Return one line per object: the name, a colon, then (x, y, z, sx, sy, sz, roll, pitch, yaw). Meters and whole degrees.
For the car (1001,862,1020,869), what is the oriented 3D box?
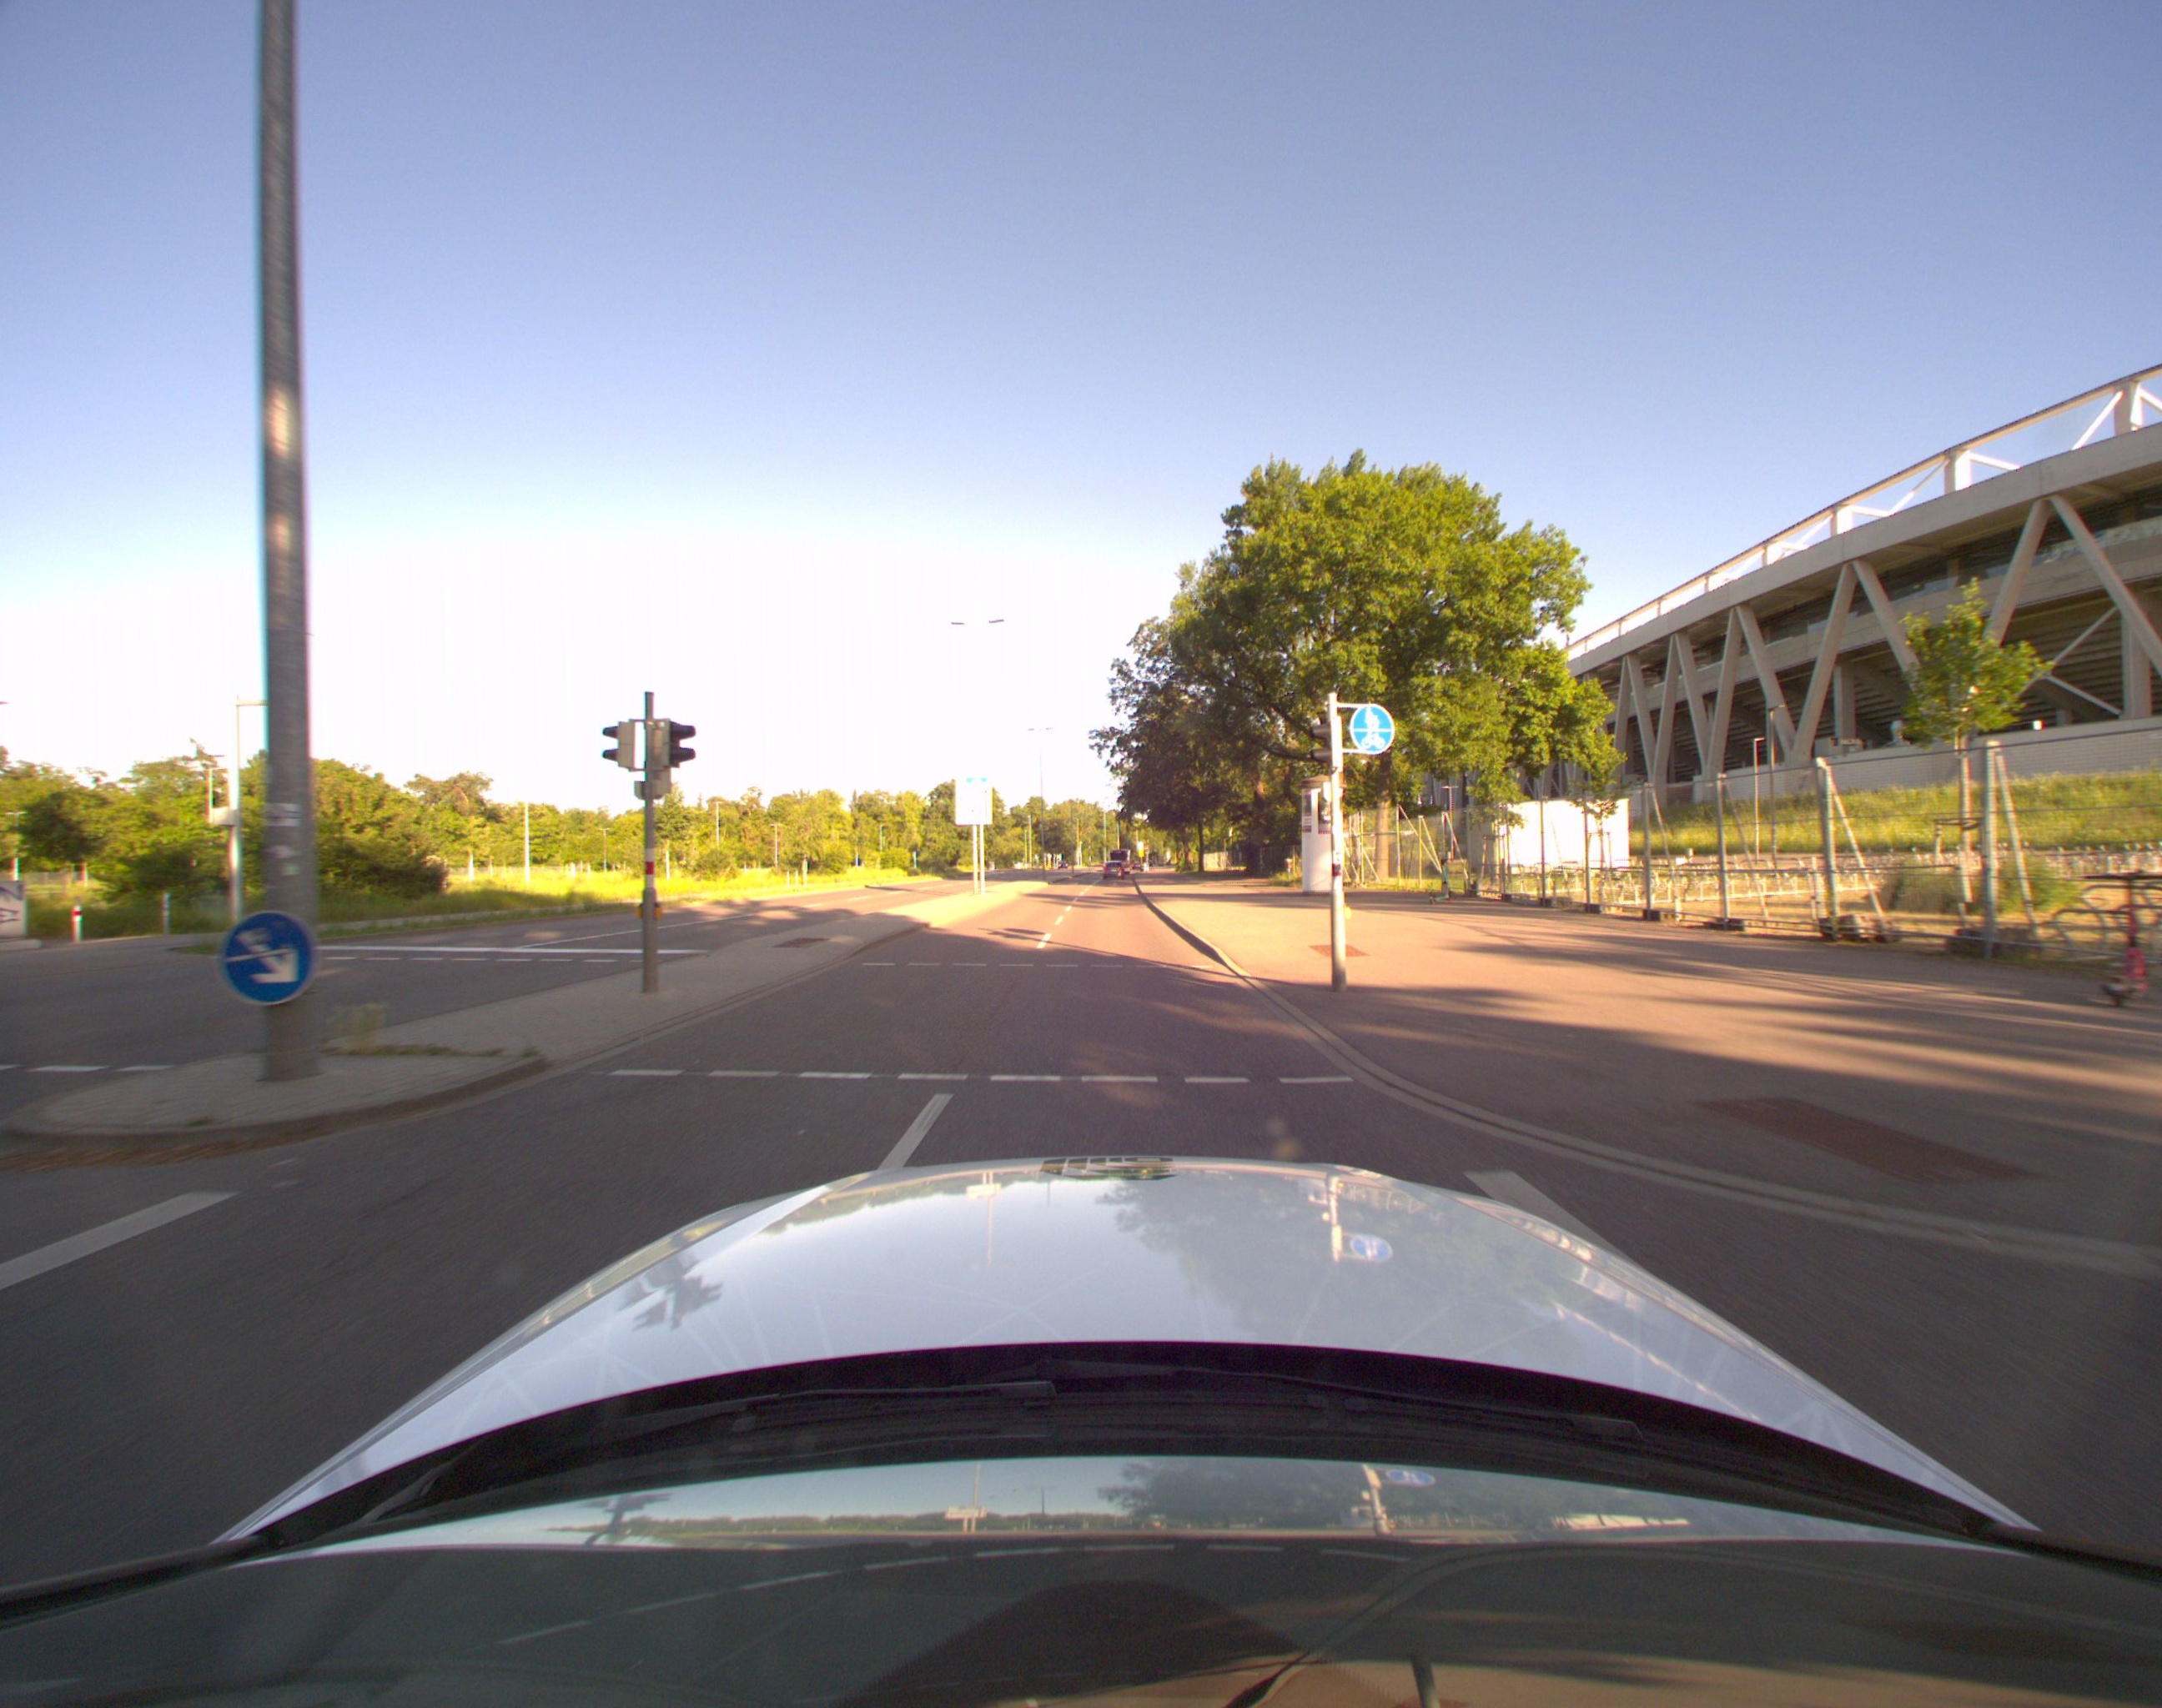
car: (-15.045, 2.363, 174.119, 3.688, 1.354, 1.721, -2, 0, -30)

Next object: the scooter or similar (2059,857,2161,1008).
scooter or similar: (9.692, 0.681, 7.641, 1.369, 1.288, 0.596, 0, -1, -41)

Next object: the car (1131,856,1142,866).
car: (10.715, 1.337, 157.553, 1.854, 1.684, 3.778, -2, 0, 5)

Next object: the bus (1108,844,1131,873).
bus: (4.621, 0.537, 99.313, 2.595, 3.368, 7.977, 0, 0, 1)

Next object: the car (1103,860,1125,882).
car: (2.853, 1.469, 71.652, 1.873, 1.765, 4.001, -1, 0, 1)

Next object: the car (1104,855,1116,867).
car: (4.503, 1.102, 127.343, 1.873, 1.765, 4.001, -1, 0, 1)

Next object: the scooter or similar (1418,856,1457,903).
scooter or similar: (9.887, 0.695, 22.559, 0.562, 1.256, 1.610, -1, -1, 40)

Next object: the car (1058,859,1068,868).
car: (-3.822, 1.914, 169.144, 1.856, 1.684, 3.773, -2, 0, 1)

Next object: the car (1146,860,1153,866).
car: (17.911, 2.327, 212.087, 1.586, 1.605, 3.586, 1, -1, 3)
